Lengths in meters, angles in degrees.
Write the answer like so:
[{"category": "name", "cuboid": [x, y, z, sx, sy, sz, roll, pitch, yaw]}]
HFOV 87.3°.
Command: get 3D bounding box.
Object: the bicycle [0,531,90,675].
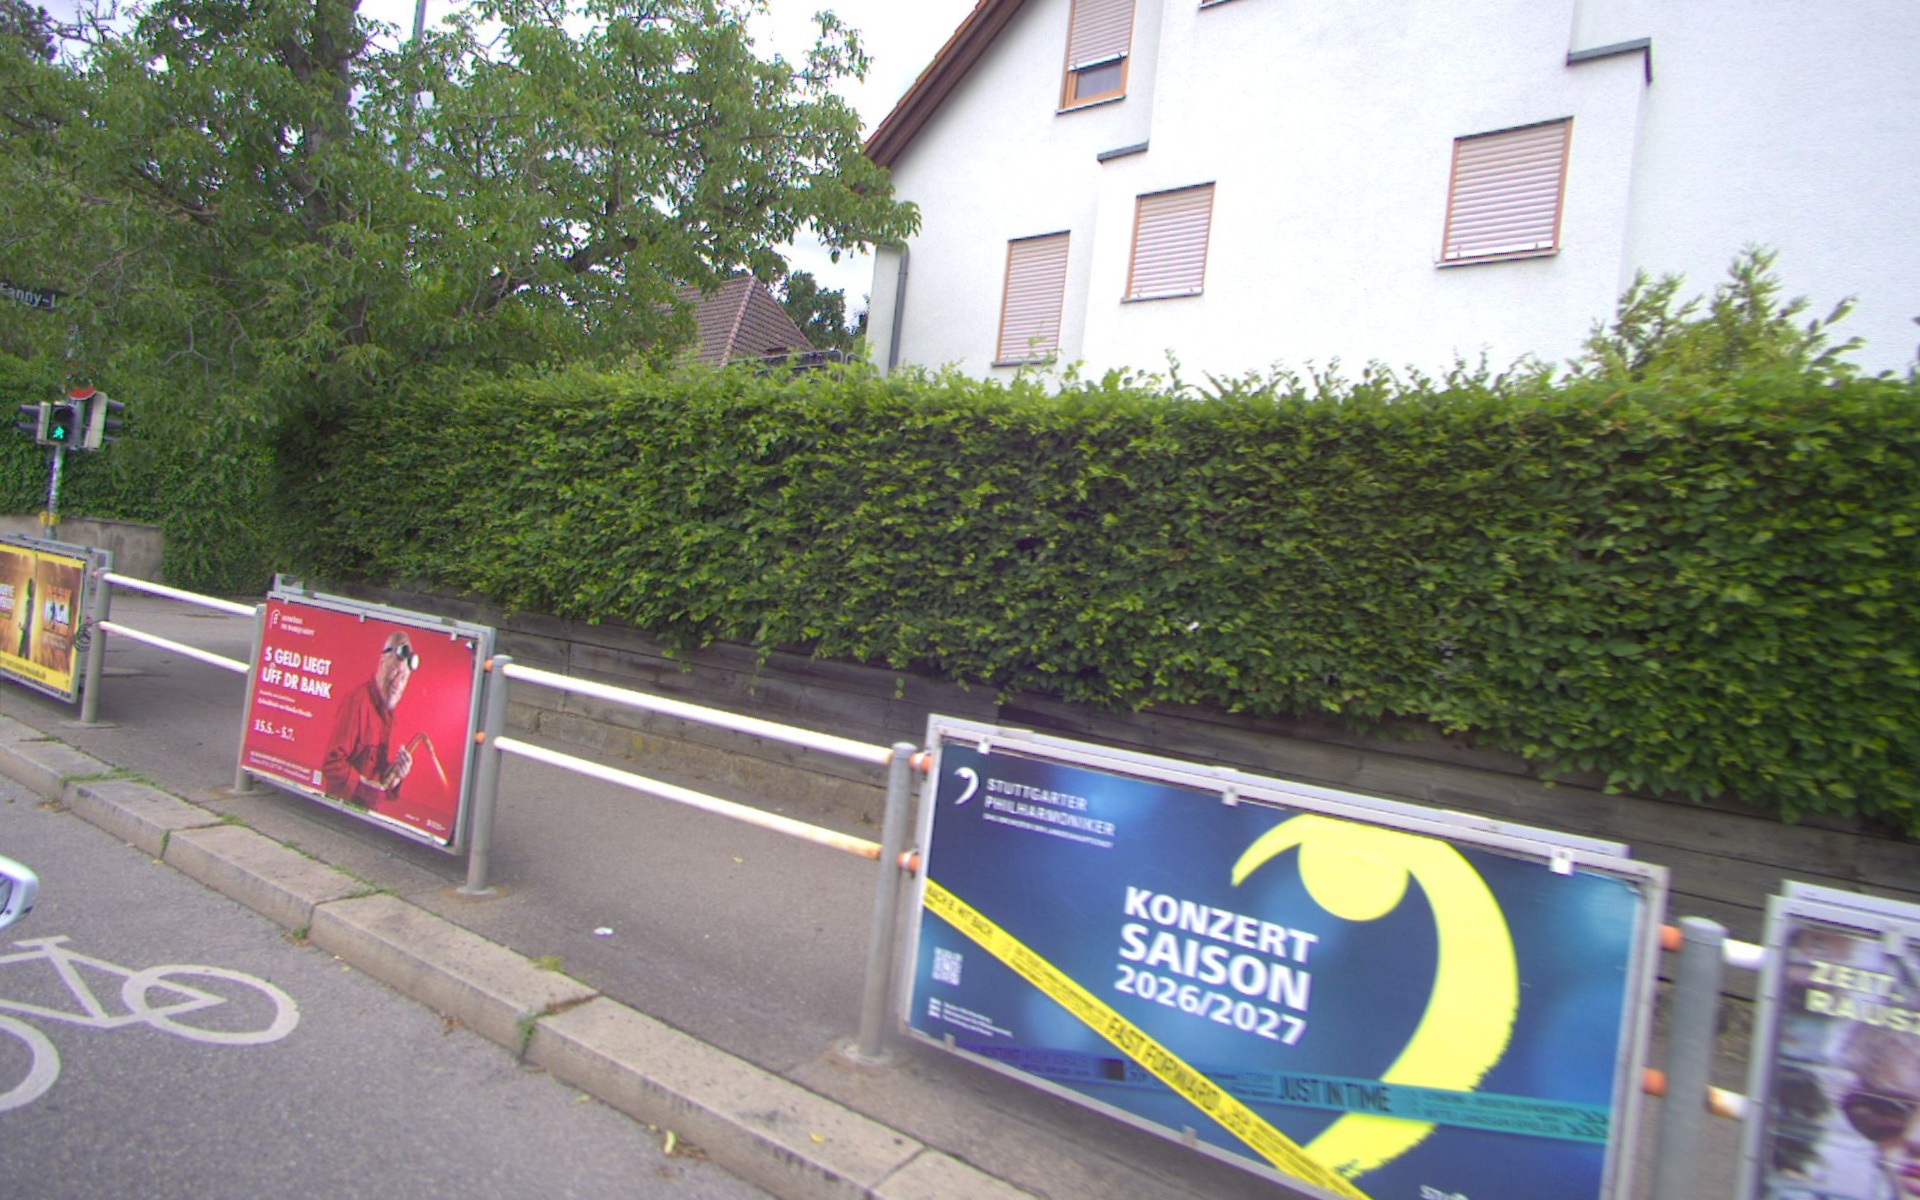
[{"category": "bicycle", "cuboid": [-7.800, -0.014, 8.189, 1.479, 1.041, 0.628, 7, 0, 33]}]
